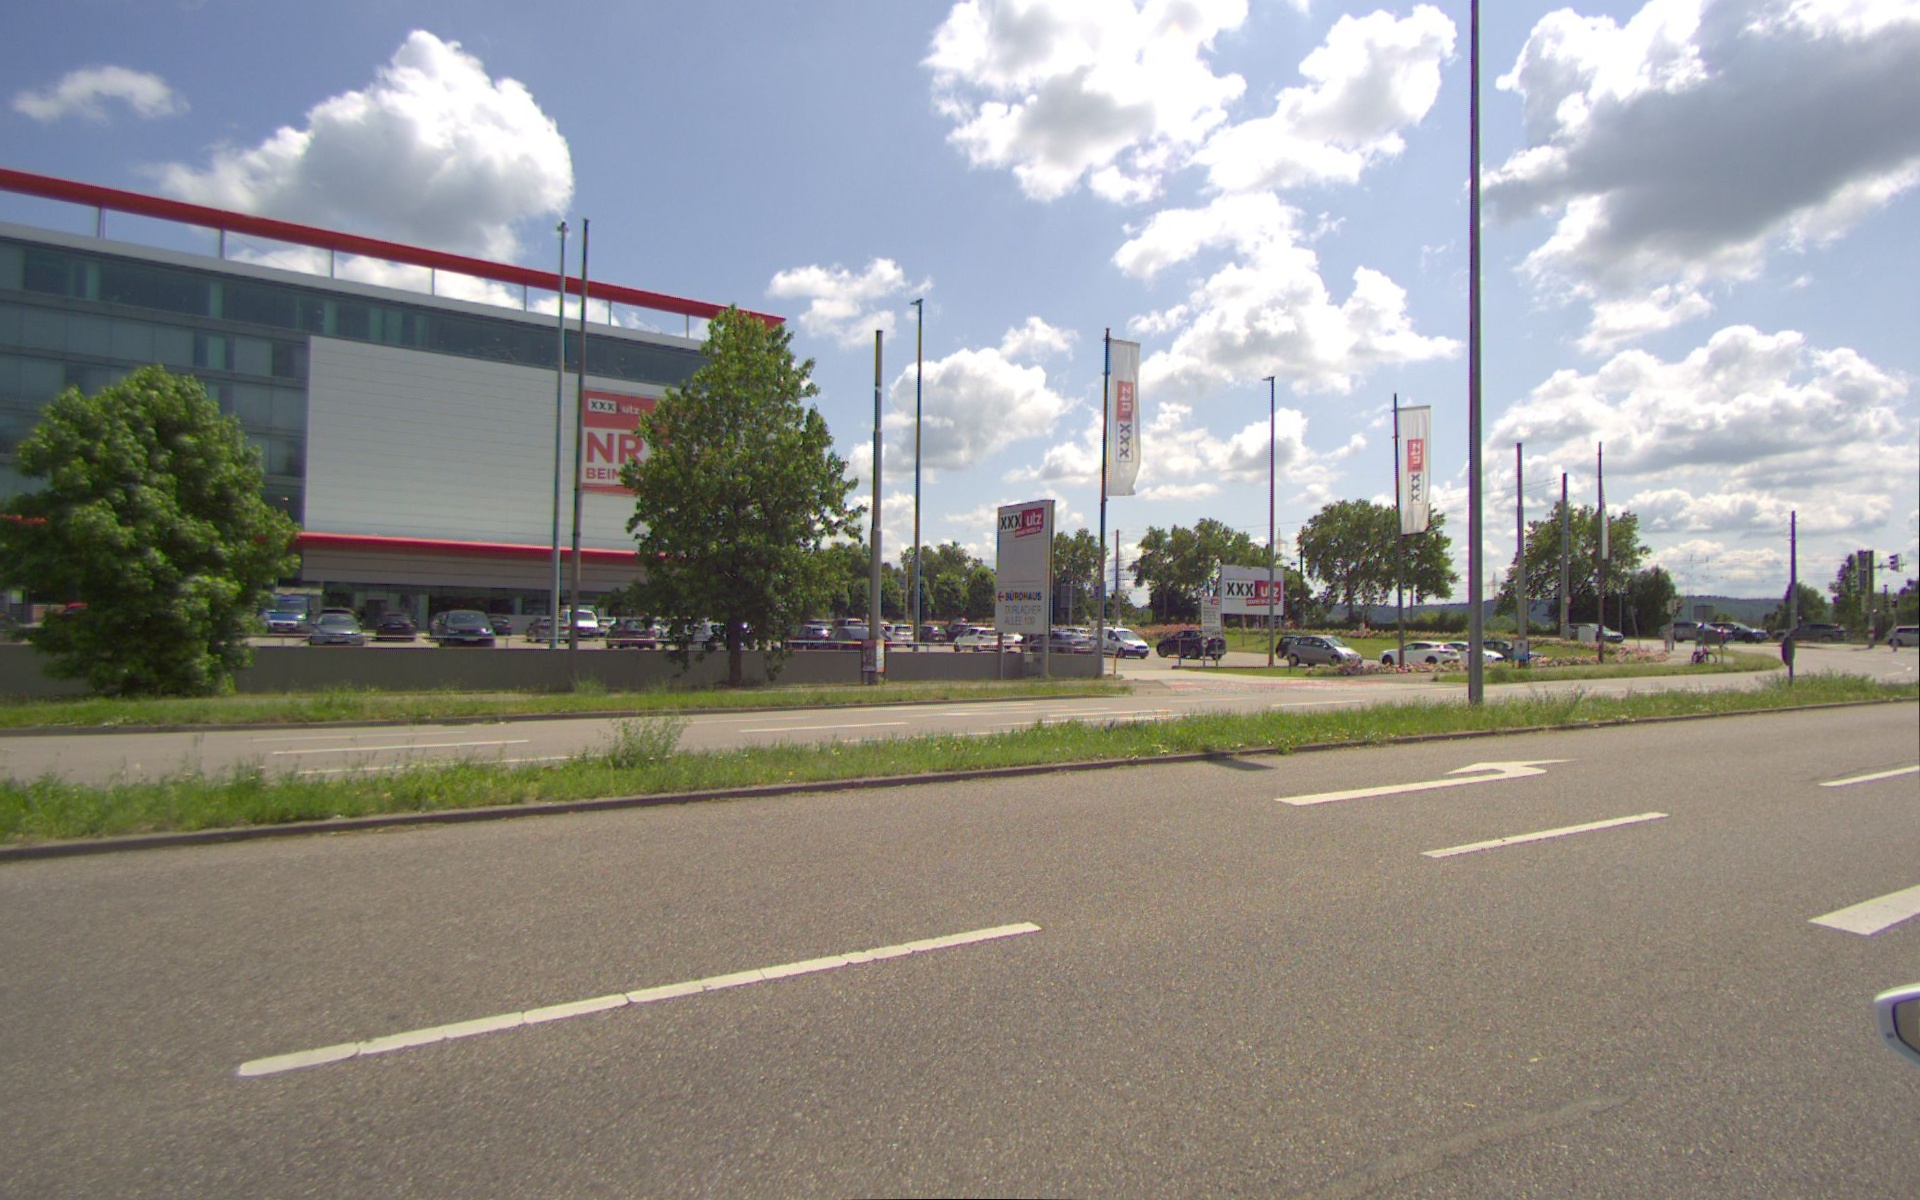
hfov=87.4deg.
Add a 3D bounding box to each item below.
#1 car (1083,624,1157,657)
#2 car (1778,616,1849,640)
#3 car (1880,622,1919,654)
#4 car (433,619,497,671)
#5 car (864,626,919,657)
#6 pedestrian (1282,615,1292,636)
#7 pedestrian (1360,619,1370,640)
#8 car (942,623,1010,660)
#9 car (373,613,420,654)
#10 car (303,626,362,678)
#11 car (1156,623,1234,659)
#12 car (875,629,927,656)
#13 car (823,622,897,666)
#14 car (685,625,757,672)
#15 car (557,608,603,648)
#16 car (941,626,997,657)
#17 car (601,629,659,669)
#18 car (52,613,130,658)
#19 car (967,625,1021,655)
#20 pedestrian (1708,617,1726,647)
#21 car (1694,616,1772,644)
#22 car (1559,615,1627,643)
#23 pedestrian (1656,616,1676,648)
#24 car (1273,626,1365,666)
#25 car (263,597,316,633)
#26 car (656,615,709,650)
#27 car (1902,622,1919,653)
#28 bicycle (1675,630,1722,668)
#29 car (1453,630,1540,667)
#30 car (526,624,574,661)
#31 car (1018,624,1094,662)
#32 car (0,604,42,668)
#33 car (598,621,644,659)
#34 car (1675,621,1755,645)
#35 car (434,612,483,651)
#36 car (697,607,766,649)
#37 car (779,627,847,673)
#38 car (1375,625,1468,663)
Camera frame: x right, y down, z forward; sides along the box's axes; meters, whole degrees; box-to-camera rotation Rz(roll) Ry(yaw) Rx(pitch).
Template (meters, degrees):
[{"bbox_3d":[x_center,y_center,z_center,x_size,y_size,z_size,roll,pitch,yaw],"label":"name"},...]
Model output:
[{"bbox_3d":[9.297,2.374,58.753,1.977,1.863,4.327,1,-2,-31],"label":"car"},{"bbox_3d":[72.201,2.376,85.028,1.983,2.015,4.313,2,-3,-39],"label":"car"},{"bbox_3d":[62.429,2.449,64.676,1.977,2.015,4.327,1,-2,-31],"label":"car"},{"bbox_3d":[-20.171,1.818,40.873,1.977,2.015,4.327,1,-2,-31],"label":"car"},{"bbox_3d":[-4.668,2.819,67.983,1.977,2.015,4.327,1,-2,-31],"label":"car"},{"bbox_3d":[31.922,2.476,97.969,0.761,2.040,0.566,0,-2,-10],"label":"pedestrian"},{"bbox_3d":[35.039,2.525,86.885,0.588,1.834,0.532,0,-2,-20],"label":"pedestrian"},{"bbox_3d":[0.906,2.437,58.953,1.977,2.015,4.327,3,-3,-31],"label":"car"},{"bbox_3d":[-29.358,1.761,52.271,1.977,2.015,4.327,1,-2,-31],"label":"car"},{"bbox_3d":[-26.438,2.153,42.444,1.977,2.077,4.327,1,-2,-31],"label":"car"},{"bbox_3d":[14.160,2.466,60.797,1.977,2.015,4.559,2,-2,-31],"label":"car"},{"bbox_3d":[-4.314,3.068,72.839,1.977,1.906,4.327,1,-2,-31],"label":"car"},{"bbox_3d":[-4.973,2.138,49.473,1.977,2.015,4.327,1,-1,-31],"label":"car"},{"bbox_3d":[-10.893,2.170,45.585,1.977,2.015,4.327,1,-2,-31],"label":"car"},{"bbox_3d":[-23.507,1.747,62.074,1.848,2.336,4.534,1,-2,-31],"label":"car"},{"bbox_3d":[0.601,2.869,69.656,1.977,2.015,4.327,1,-2,-31],"label":"car"},{"bbox_3d":[-16.177,2.380,49.144,1.757,1.854,4.327,1,-2,-31],"label":"car"},{"bbox_3d":[-40.412,1.658,46.829,1.977,2.015,4.327,1,-2,-31],"label":"car"},{"bbox_3d":[2.395,2.838,71.064,1.977,2.015,4.053,1,-2,-31],"label":"car"},{"bbox_3d":[48.866,2.070,64.849,0.784,1.862,0.865,2,0,31],"label":"pedestrian"},{"bbox_3d":[59.137,2.311,76.930,1.977,2.015,4.327,1,-2,-31],"label":"car"},{"bbox_3d":[47.205,2.165,74.998,1.966,2.040,3.990,0,-2,-14],"label":"car"},{"bbox_3d":[42.795,1.939,60.893,0.852,1.862,0.796,2,0,31],"label":"pedestrian"},{"bbox_3d":[18.702,2.382,52.498,1.977,2.015,4.327,1,-2,-31],"label":"car"},{"bbox_3d":[-36.474,0.876,54.772,2.174,1.802,5.091,1,-2,-31],"label":"car"},{"bbox_3d":[-16.677,1.978,60.168,1.977,2.015,4.327,2,-3,-31],"label":"car"},{"bbox_3d":[64.978,2.480,65.879,1.977,2.015,4.327,1,-2,-31],"label":"car"},{"bbox_3d":[33.539,2.212,45.604,2.025,1.697,1.013,1,-2,-31],"label":"bicycle"},{"bbox_3d":[30.534,2.739,57.205,1.984,2.040,3.953,2,-3,-41],"label":"car"},{"bbox_3d":[-23.065,2.364,56.451,1.976,2.015,4.330,1,-2,-29],"label":"car"},{"bbox_3d":[5.245,2.357,55.296,1.977,2.015,4.327,1,-2,-31],"label":"car"},{"bbox_3d":[-32.204,1.209,33.146,1.977,2.015,4.327,0,-2,-31],"label":"car"},{"bbox_3d":[-21.506,2.525,63.679,1.848,2.336,4.534,1,-2,-31],"label":"car"},{"bbox_3d":[56.787,2.511,75.631,1.882,1.696,4.485,3,-4,-30],"label":"car"},{"bbox_3d":[-26.977,1.709,53.966,1.977,2.015,4.327,1,-2,-31],"label":"car"},{"bbox_3d":[-11.740,1.450,51.377,1.978,2.040,4.787,2,-2,-31],"label":"car"},{"bbox_3d":[-7.121,2.380,48.393,1.822,2.015,4.050,2,-1,-31],"label":"car"},{"bbox_3d":[25.441,2.424,55.511,1.977,2.015,4.327,1,-2,-31],"label":"car"}]
